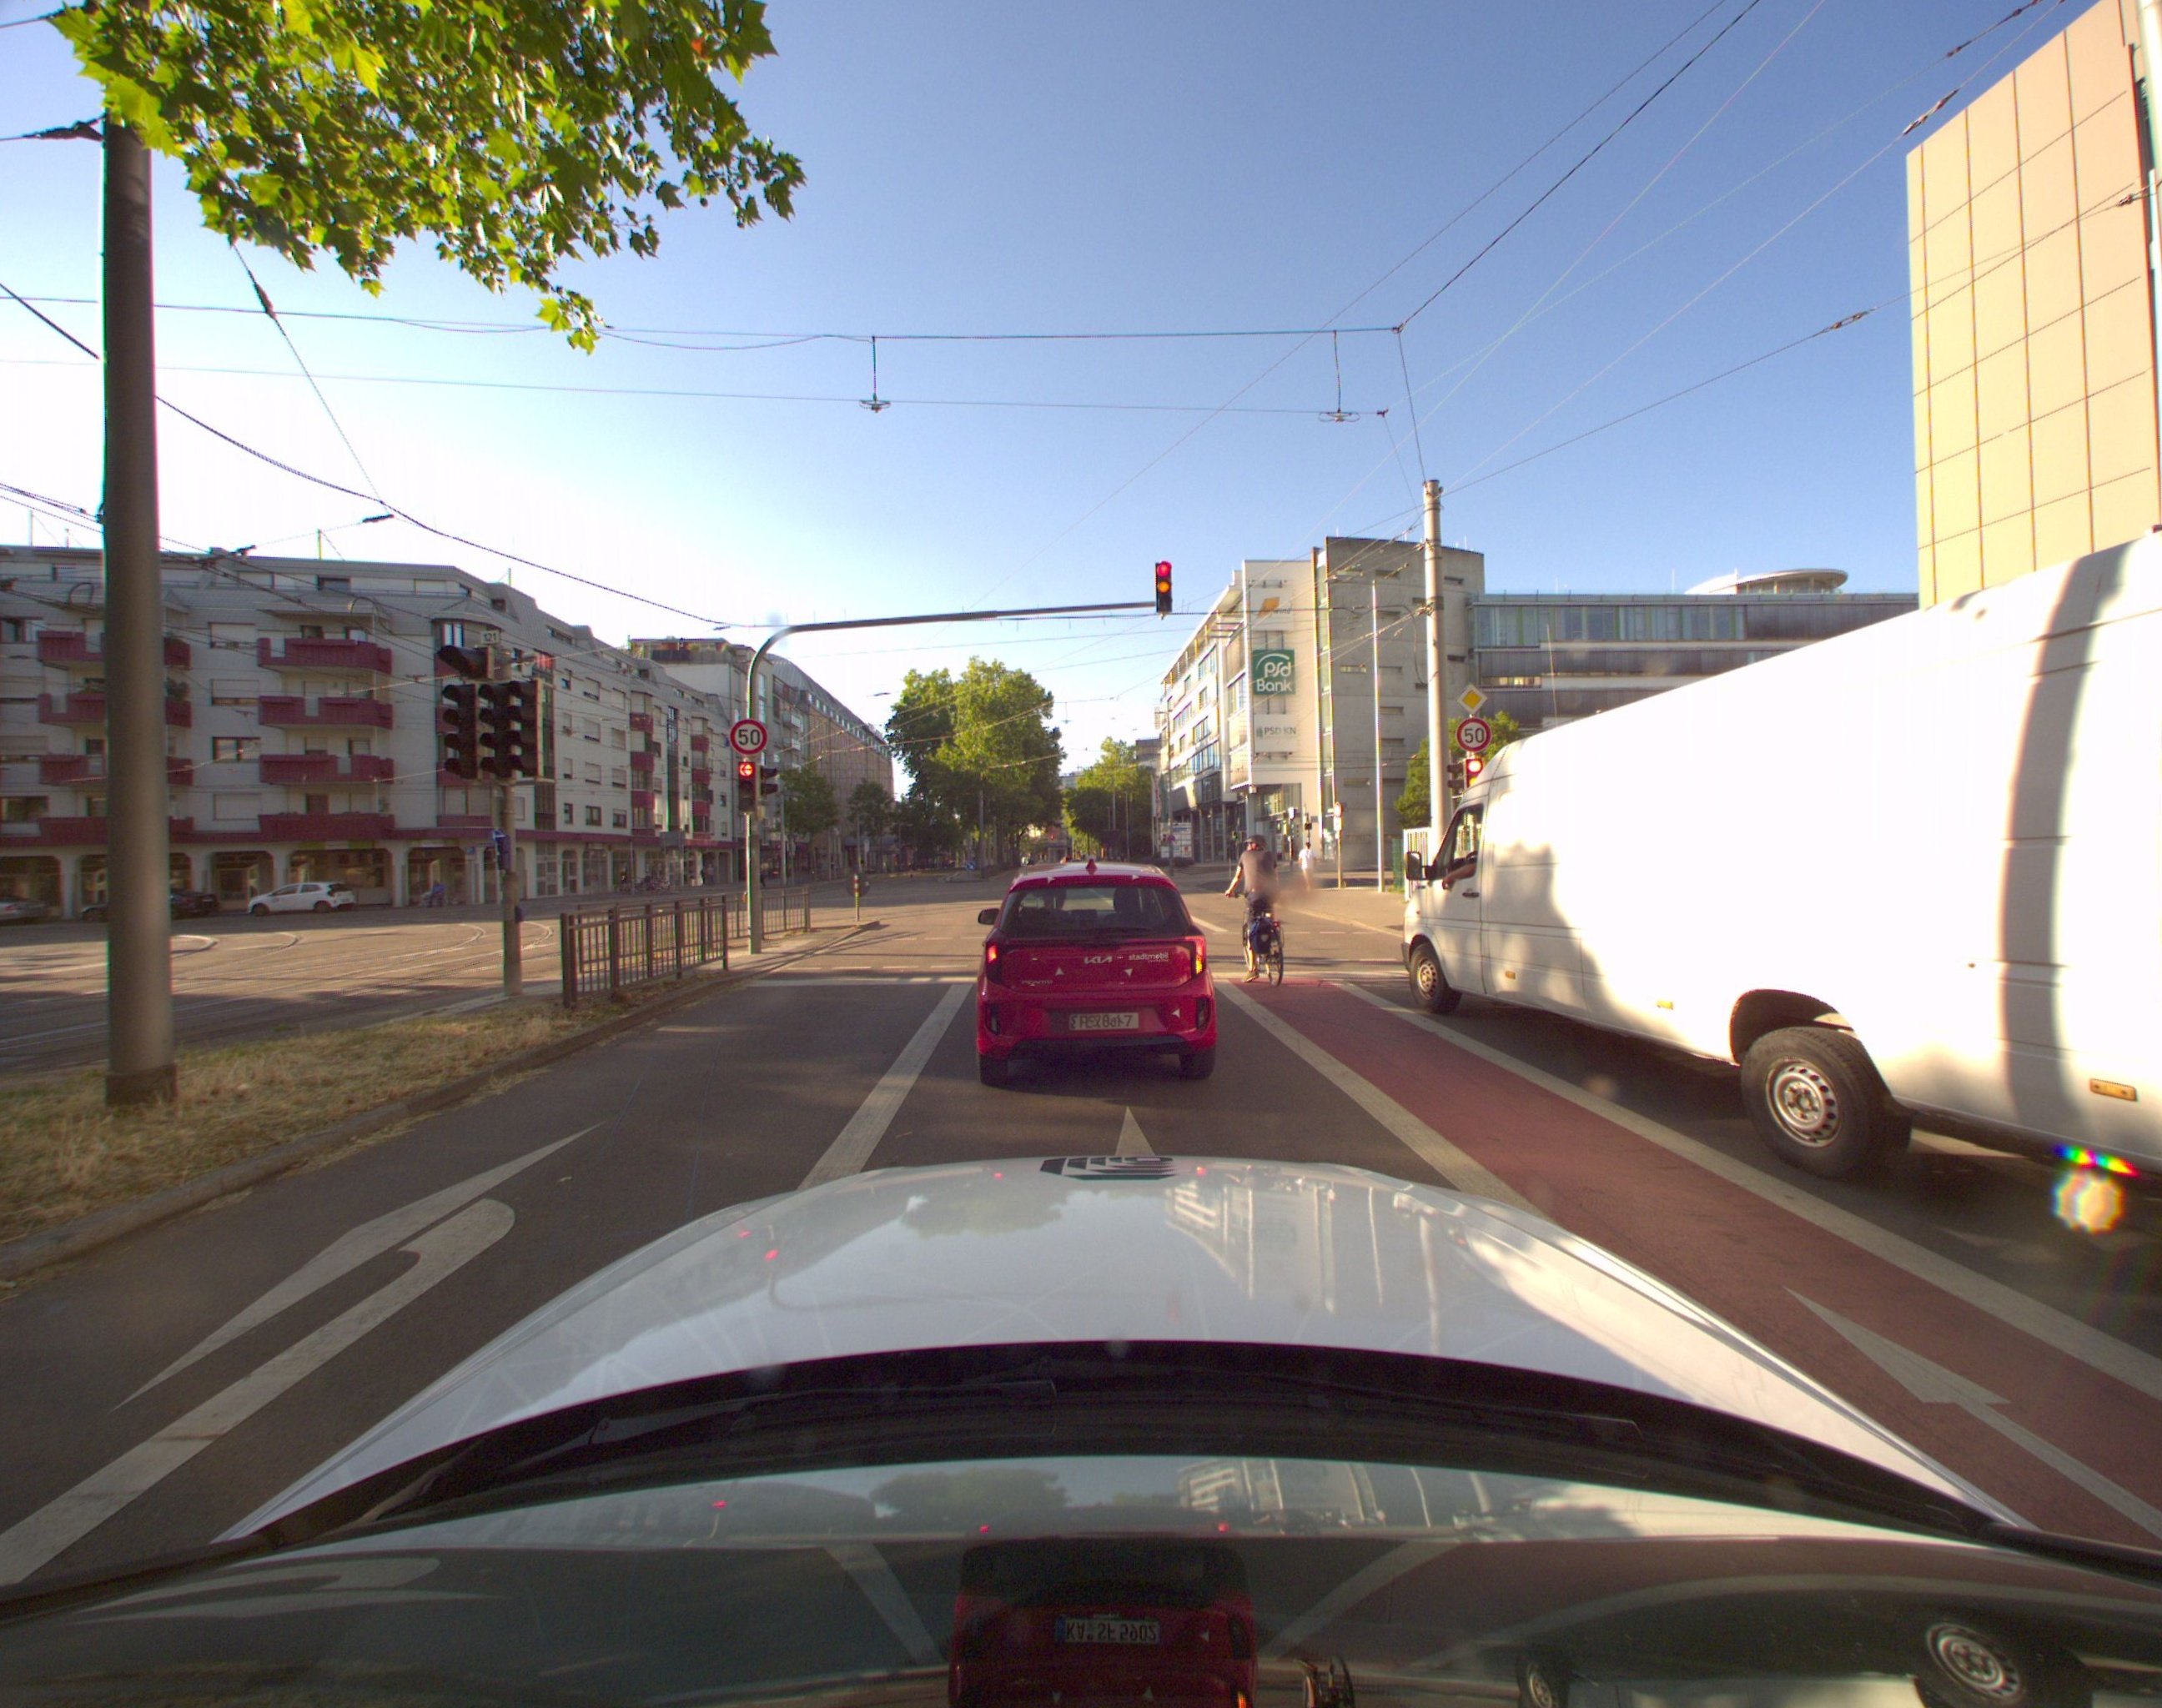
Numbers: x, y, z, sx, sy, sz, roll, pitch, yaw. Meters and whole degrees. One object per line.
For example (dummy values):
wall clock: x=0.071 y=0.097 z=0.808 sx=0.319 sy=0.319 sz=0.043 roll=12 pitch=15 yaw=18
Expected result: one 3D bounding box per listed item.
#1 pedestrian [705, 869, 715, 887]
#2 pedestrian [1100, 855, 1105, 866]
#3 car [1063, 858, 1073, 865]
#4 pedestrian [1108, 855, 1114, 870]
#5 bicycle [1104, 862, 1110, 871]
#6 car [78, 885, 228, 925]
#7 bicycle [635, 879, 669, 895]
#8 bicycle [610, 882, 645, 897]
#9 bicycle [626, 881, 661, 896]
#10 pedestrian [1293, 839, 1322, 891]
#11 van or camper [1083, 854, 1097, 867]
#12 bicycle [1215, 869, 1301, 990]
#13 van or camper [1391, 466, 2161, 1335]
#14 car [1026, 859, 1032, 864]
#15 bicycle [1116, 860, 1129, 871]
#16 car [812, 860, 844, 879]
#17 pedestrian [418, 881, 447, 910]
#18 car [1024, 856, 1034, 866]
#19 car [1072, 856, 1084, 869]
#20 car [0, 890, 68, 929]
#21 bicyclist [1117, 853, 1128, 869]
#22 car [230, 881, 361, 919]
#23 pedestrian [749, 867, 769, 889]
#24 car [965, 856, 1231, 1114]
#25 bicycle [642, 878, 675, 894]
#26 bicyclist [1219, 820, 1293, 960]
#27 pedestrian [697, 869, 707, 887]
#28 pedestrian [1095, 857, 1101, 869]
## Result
pedestrian: x=-31.166 y=2.019 z=68.404 sx=0.533 sy=1.494 sz=0.586 roll=-2 pitch=0 yaw=-6
pedestrian: x=3.516 y=1.063 z=132.977 sx=0.888 sy=1.753 sz=0.841 roll=-2 pitch=0 yaw=1
car: x=-2.880 y=1.535 z=174.569 sx=1.776 sy=1.535 sz=3.503 roll=-1 pitch=0 yaw=-8
pedestrian: x=3.445 y=1.022 z=94.001 sx=0.644 sy=1.680 sz=0.651 roll=-2 pitch=0 yaw=-1
bicycle: x=3.020 y=1.426 z=93.830 sx=0.519 sy=0.975 sz=2.201 roll=-5 pitch=0 yaw=0
car: x=-42.424 y=2.297 z=37.351 sx=4.112 sy=1.555 sz=1.992 roll=-2 pitch=0 yaw=-12
bicycle: x=-27.793 y=2.131 z=52.825 sx=1.840 sy=0.985 sz=0.552 roll=-2 pitch=0 yaw=-6
bicycle: x=-28.261 y=2.192 z=50.794 sx=1.837 sy=0.854 sz=0.553 roll=-2 pitch=0 yaw=-1
bicycle: x=-27.699 y=2.191 z=51.555 sx=1.837 sy=0.854 sz=0.553 roll=-2 pitch=0 yaw=-1
pedestrian: x=8.195 y=0.393 z=29.514 sx=0.773 sy=1.823 sz=1.218 roll=-2 pitch=0 yaw=7
van or camper: x=1.457 y=1.022 z=132.477 sx=1.988 sy=1.989 sz=4.741 roll=-1 pitch=0 yaw=-2
bicycle: x=2.122 y=0.849 z=9.990 sx=0.647 sy=1.281 sz=1.967 roll=-2 pitch=0 yaw=2
van or camper: x=4.301 y=0.144 z=5.389 sx=1.963 sy=2.716 sz=6.301 roll=-1 pitch=0 yaw=-1
car: x=-16.315 y=2.290 z=256.526 sx=1.776 sy=1.535 sz=3.403 roll=-1 pitch=0 yaw=-8
bicycle: x=4.172 y=1.150 z=81.813 sx=0.698 sy=1.098 sz=1.740 roll=-5 pitch=0 yaw=-17
car: x=-24.409 y=1.504 z=78.647 sx=1.951 sy=1.672 sz=4.255 roll=-2 pitch=0 yaw=-4
pedestrian: x=-32.530 y=2.061 z=40.869 sx=0.857 sy=1.384 sz=0.833 roll=-2 pitch=0 yaw=-14
car: x=-11.209 y=1.565 z=175.988 sx=1.991 sy=2.013 sz=3.992 roll=-2 pitch=0 yaw=-6
car: x=-0.504 y=1.207 z=116.536 sx=1.631 sy=1.800 sz=3.328 roll=-2 pitch=0 yaw=-1
car: x=-48.598 y=2.517 z=35.951 sx=4.572 sy=1.555 sz=1.992 roll=-2 pitch=0 yaw=-12
bicyclist: x=4.166 y=0.686 z=81.718 sx=0.723 sy=1.603 sz=1.082 roll=-4 pitch=0 yaw=-16
car: x=-37.168 y=2.152 z=38.653 sx=3.989 sy=1.555 sz=1.992 roll=-2 pitch=0 yaw=-12
pedestrian: x=-23.188 y=1.698 z=58.661 sx=1.039 sy=1.544 sz=0.696 roll=-2 pitch=0 yaw=10
car: x=0.035 y=0.797 z=6.681 sx=1.609 sy=1.535 sz=3.408 roll=-1 pitch=0 yaw=-3
bicycle: x=-27.707 y=2.086 z=53.439 sx=1.840 sy=0.985 sz=0.552 roll=-2 pitch=0 yaw=-6
bicyclist: x=2.120 y=0.416 z=9.994 sx=0.647 sy=1.603 sz=1.089 roll=-2 pitch=0 yaw=2
pedestrian: x=-31.743 y=2.021 z=68.237 sx=0.533 sy=1.494 sz=0.586 roll=-2 pitch=0 yaw=-6
pedestrian: x=2.273 y=1.280 z=111.152 sx=0.640 sy=1.579 sz=0.722 roll=-5 pitch=0 yaw=-4
